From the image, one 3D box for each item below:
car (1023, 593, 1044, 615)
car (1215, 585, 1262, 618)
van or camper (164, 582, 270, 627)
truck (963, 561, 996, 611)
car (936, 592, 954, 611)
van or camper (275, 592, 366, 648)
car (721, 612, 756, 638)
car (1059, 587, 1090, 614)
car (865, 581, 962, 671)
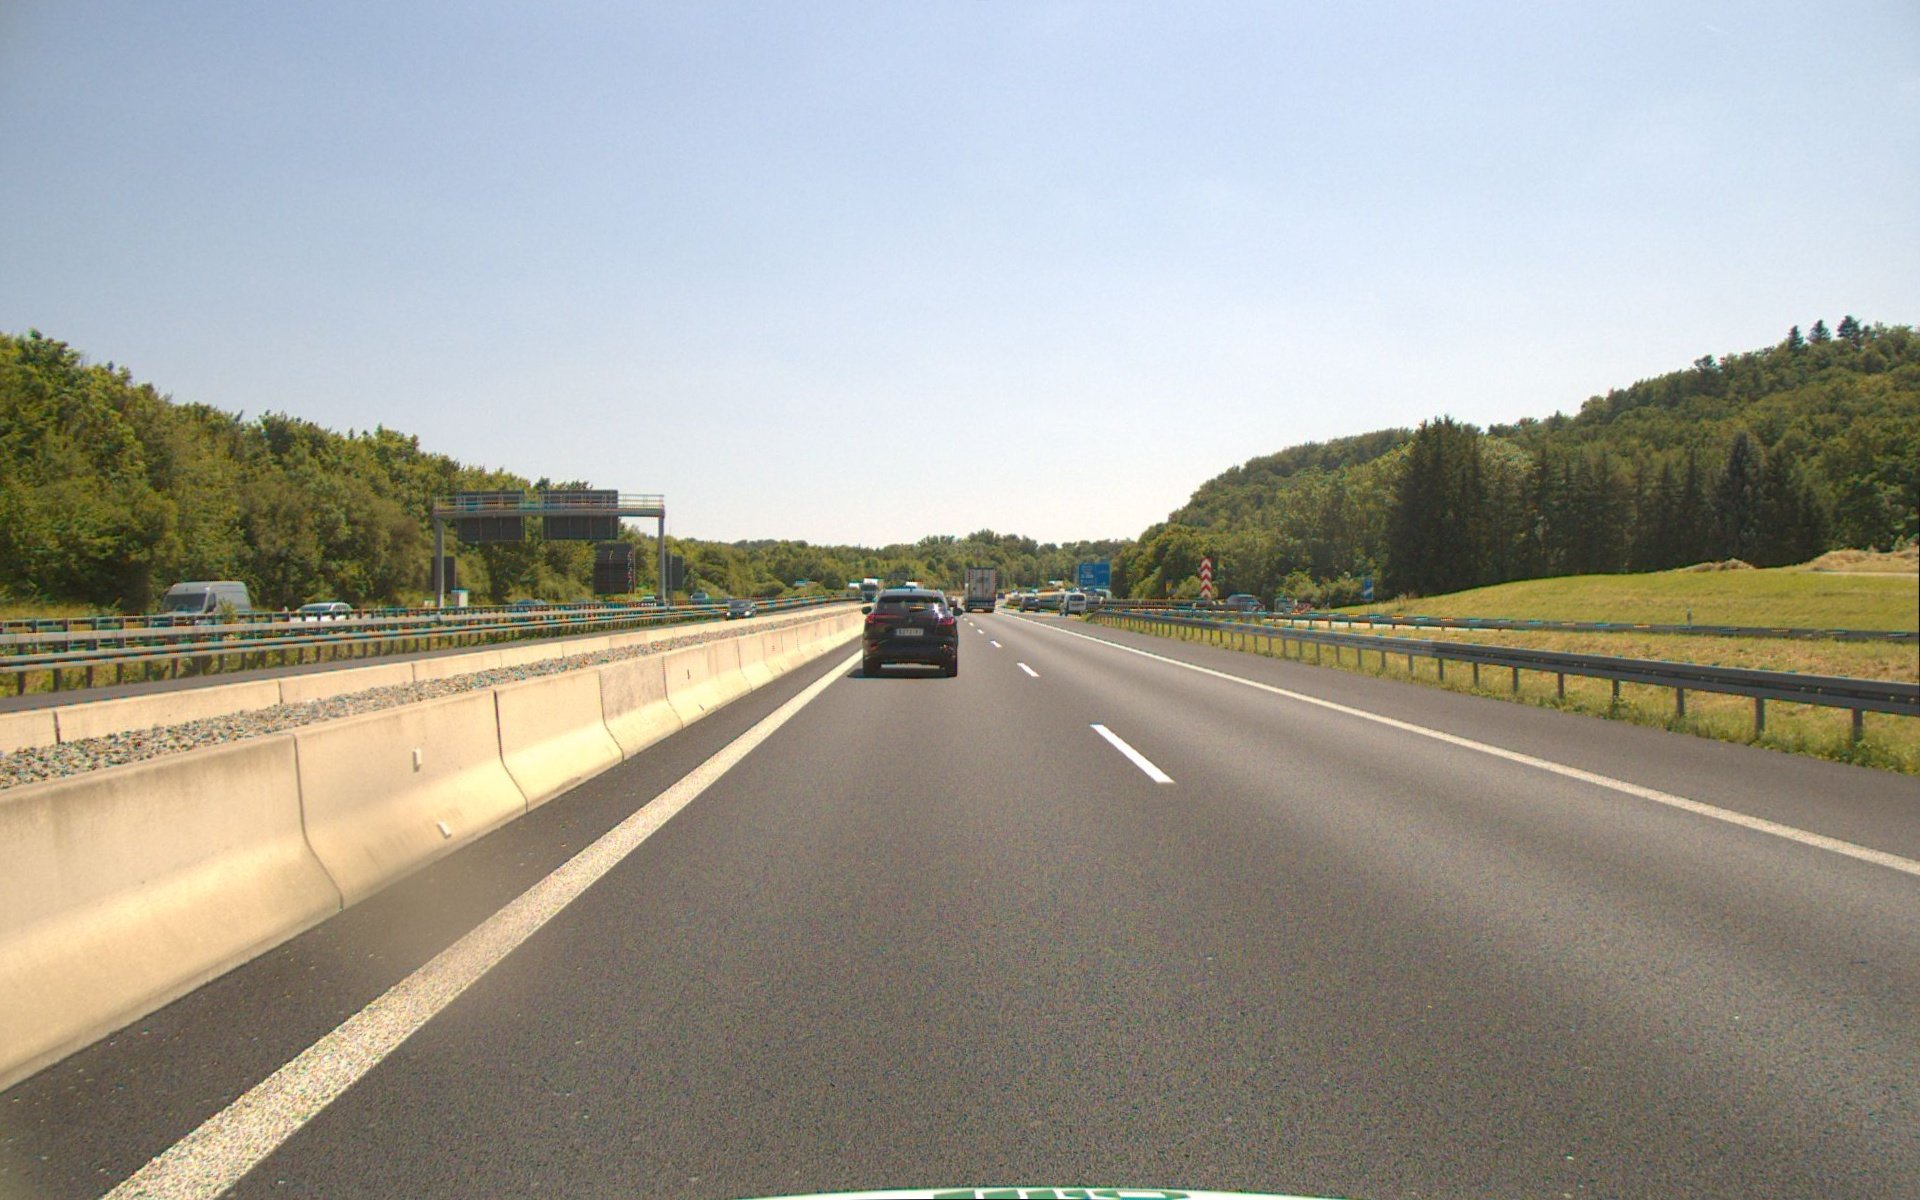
[{"bbox_3d":[7.317,0.410,164.434,1.952,2.049,4.001,1,0,3],"label":"car"},{"bbox_3d":[18.297,0.103,108.757,1.956,2.049,3.993,-2,0,-7],"label":"car"},{"bbox_3d":[-31.304,0.178,69.880,1.952,1.830,5.528,0,0,1],"label":"van or camper"},{"bbox_3d":[1.858,-1.205,155.505,2.969,4.496,12.019,1,0,1],"label":"truck"},{"bbox_3d":[-1.857,0.223,200.982,2.094,2.255,5.087,1,0,-1],"label":"car"},{"bbox_3d":[-24.497,0.760,63.506,1.953,2.049,3.999,1,0,-1],"label":"van or camper"},{"bbox_3d":[-13.626,1.524,101.832,1.797,1.561,4.156,1,0,-4],"label":"car"},{"bbox_3d":[9.130,0.052,132.205,1.954,2.049,3.998,-2,0,-3],"label":"car"},{"bbox_3d":[-0.954,0.486,32.056,1.744,1.605,3.997,1,0,-3],"label":"car"}]
